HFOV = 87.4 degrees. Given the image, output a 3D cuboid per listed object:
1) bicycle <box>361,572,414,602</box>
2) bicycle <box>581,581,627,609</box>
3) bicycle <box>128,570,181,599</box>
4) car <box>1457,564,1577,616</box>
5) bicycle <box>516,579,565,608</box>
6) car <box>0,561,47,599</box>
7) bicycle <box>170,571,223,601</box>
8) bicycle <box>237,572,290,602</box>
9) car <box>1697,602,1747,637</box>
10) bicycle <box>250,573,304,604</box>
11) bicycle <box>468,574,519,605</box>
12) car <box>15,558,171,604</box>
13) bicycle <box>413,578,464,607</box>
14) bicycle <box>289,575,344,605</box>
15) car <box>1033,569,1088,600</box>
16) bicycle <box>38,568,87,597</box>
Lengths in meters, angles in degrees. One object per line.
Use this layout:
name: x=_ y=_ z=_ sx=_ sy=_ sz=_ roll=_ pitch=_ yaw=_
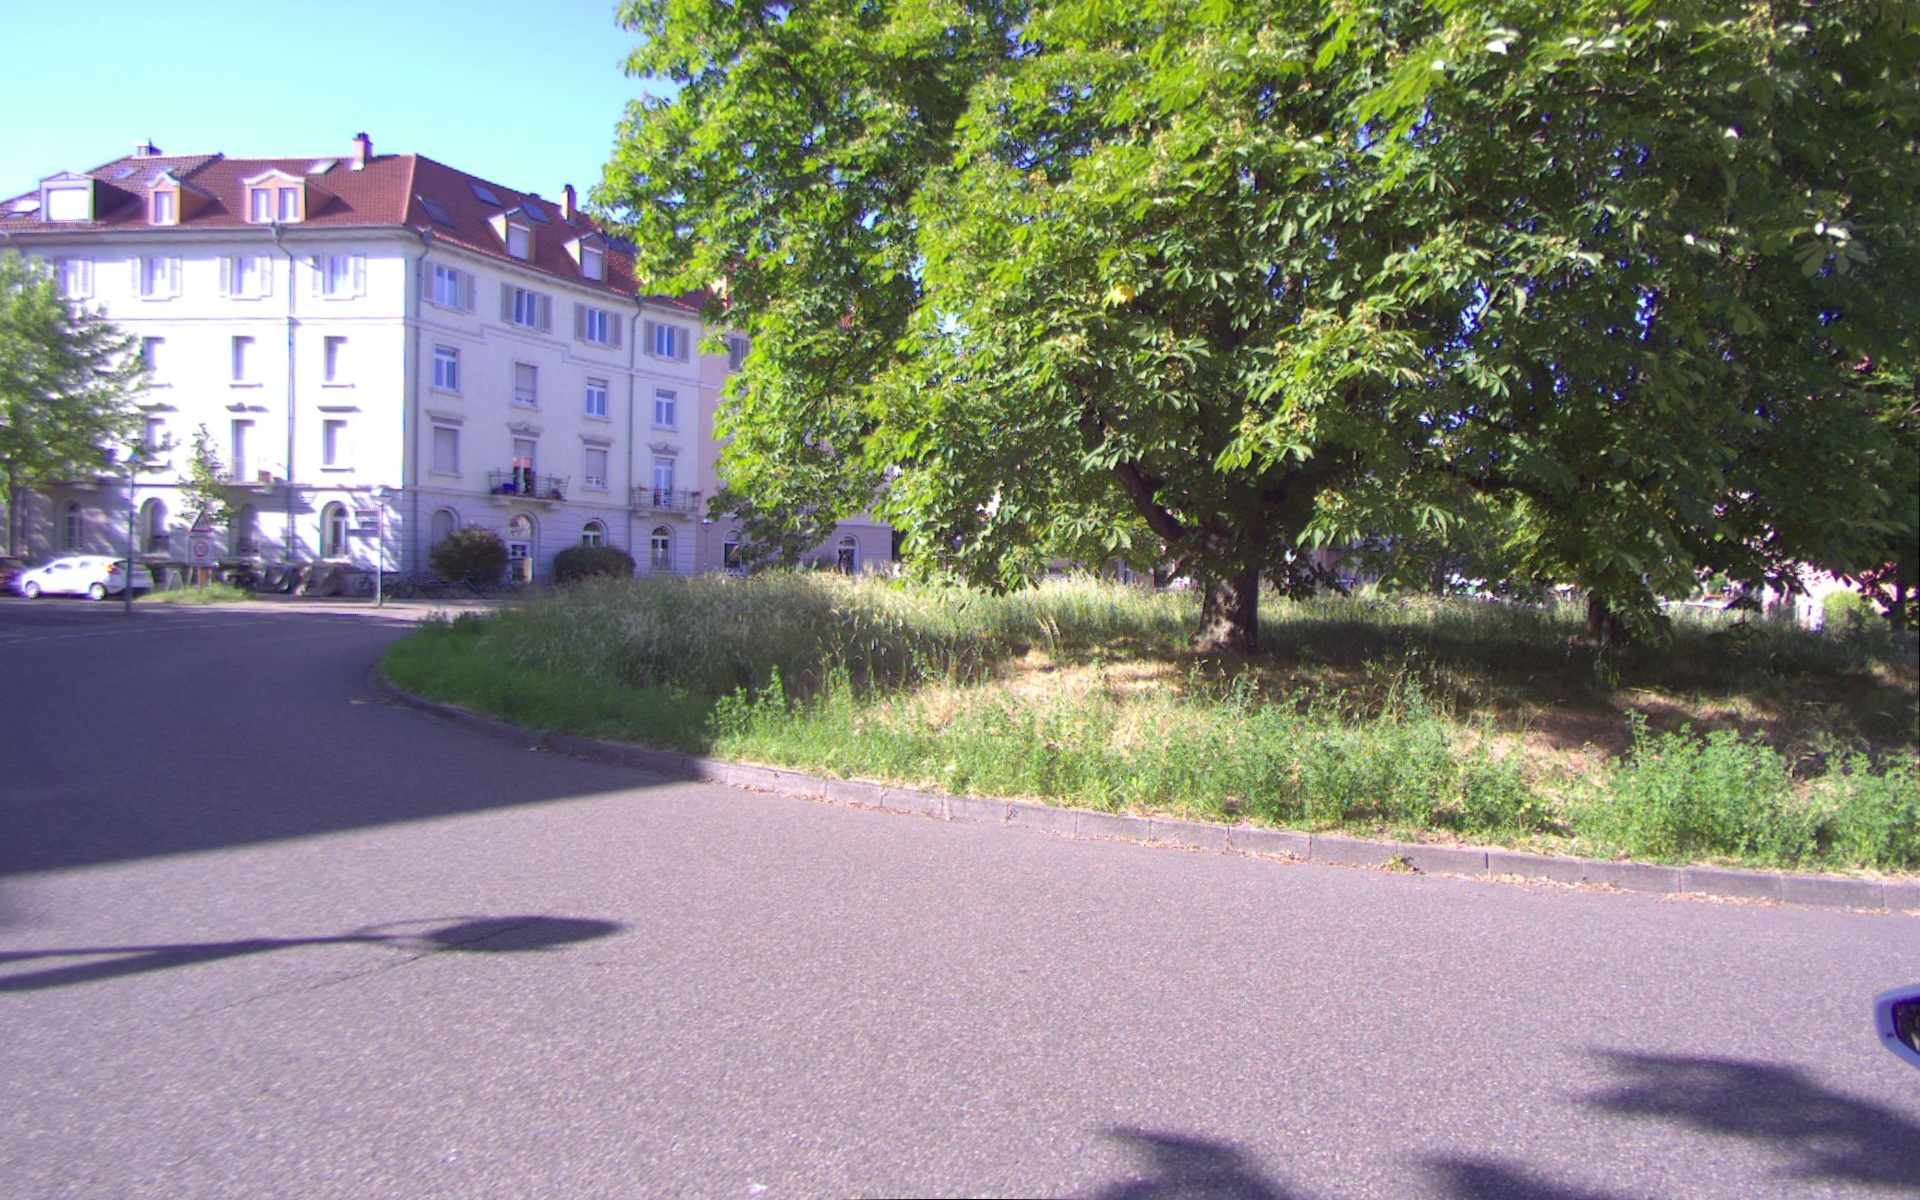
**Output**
bicycle: x=-22.342 y=-0.505 z=39.187 sx=1.780 sy=1.122 sz=0.496 roll=1 pitch=1 yaw=-32
bicycle: x=-15.685 y=-0.209 z=44.221 sx=1.782 sy=1.139 sz=0.565 roll=3 pitch=0 yaw=-35
bicycle: x=-32.721 y=-0.634 z=40.793 sx=1.764 sy=1.157 sz=0.571 roll=1 pitch=1 yaw=4
car: x=31.209 y=-0.637 z=56.591 sx=2.067 sy=2.635 sz=6.359 roll=2 pitch=2 yaw=-13
bicycle: x=-17.565 y=-0.259 z=42.130 sx=0.562 sy=1.139 sz=1.790 roll=3 pitch=0 yaw=42
car: x=-33.657 y=-0.724 z=34.209 sx=3.643 sy=1.272 sz=1.801 roll=1 pitch=1 yaw=6
bicycle: x=-30.873 y=-0.574 z=40.605 sx=1.764 sy=1.139 sz=0.571 roll=1 pitch=1 yaw=4
bicycle: x=-27.804 y=-0.511 z=40.117 sx=1.764 sy=1.139 sz=0.571 roll=1 pitch=1 yaw=4
car: x=35.230 y=0.865 z=46.507 sx=1.660 sy=1.466 sz=3.534 roll=4 pitch=2 yaw=36
bicycle: x=-26.631 y=-0.444 z=39.164 sx=1.764 sy=1.139 sz=0.571 roll=1 pitch=1 yaw=4
bicycle: x=-18.903 y=-0.412 z=40.741 sx=1.782 sy=1.139 sz=0.565 roll=3 pitch=0 yaw=-35
car: x=-29.089 y=-0.634 z=33.745 sx=3.919 sy=1.432 sz=1.801 roll=1 pitch=1 yaw=7
bicycle: x=-20.696 y=-0.308 z=39.886 sx=1.780 sy=1.122 sz=0.496 roll=1 pitch=1 yaw=-32
bicycle: x=-24.738 y=-0.385 z=38.636 sx=1.764 sy=1.139 sz=0.571 roll=1 pitch=1 yaw=4
car: x=6.522 y=-1.000 z=65.742 sx=2.105 sy=1.935 sz=4.548 roll=1 pitch=1 yaw=-14
bicycle: x=-37.100 y=-0.725 z=41.515 sx=1.763 sy=1.157 sz=0.571 roll=2 pitch=1 yaw=12
